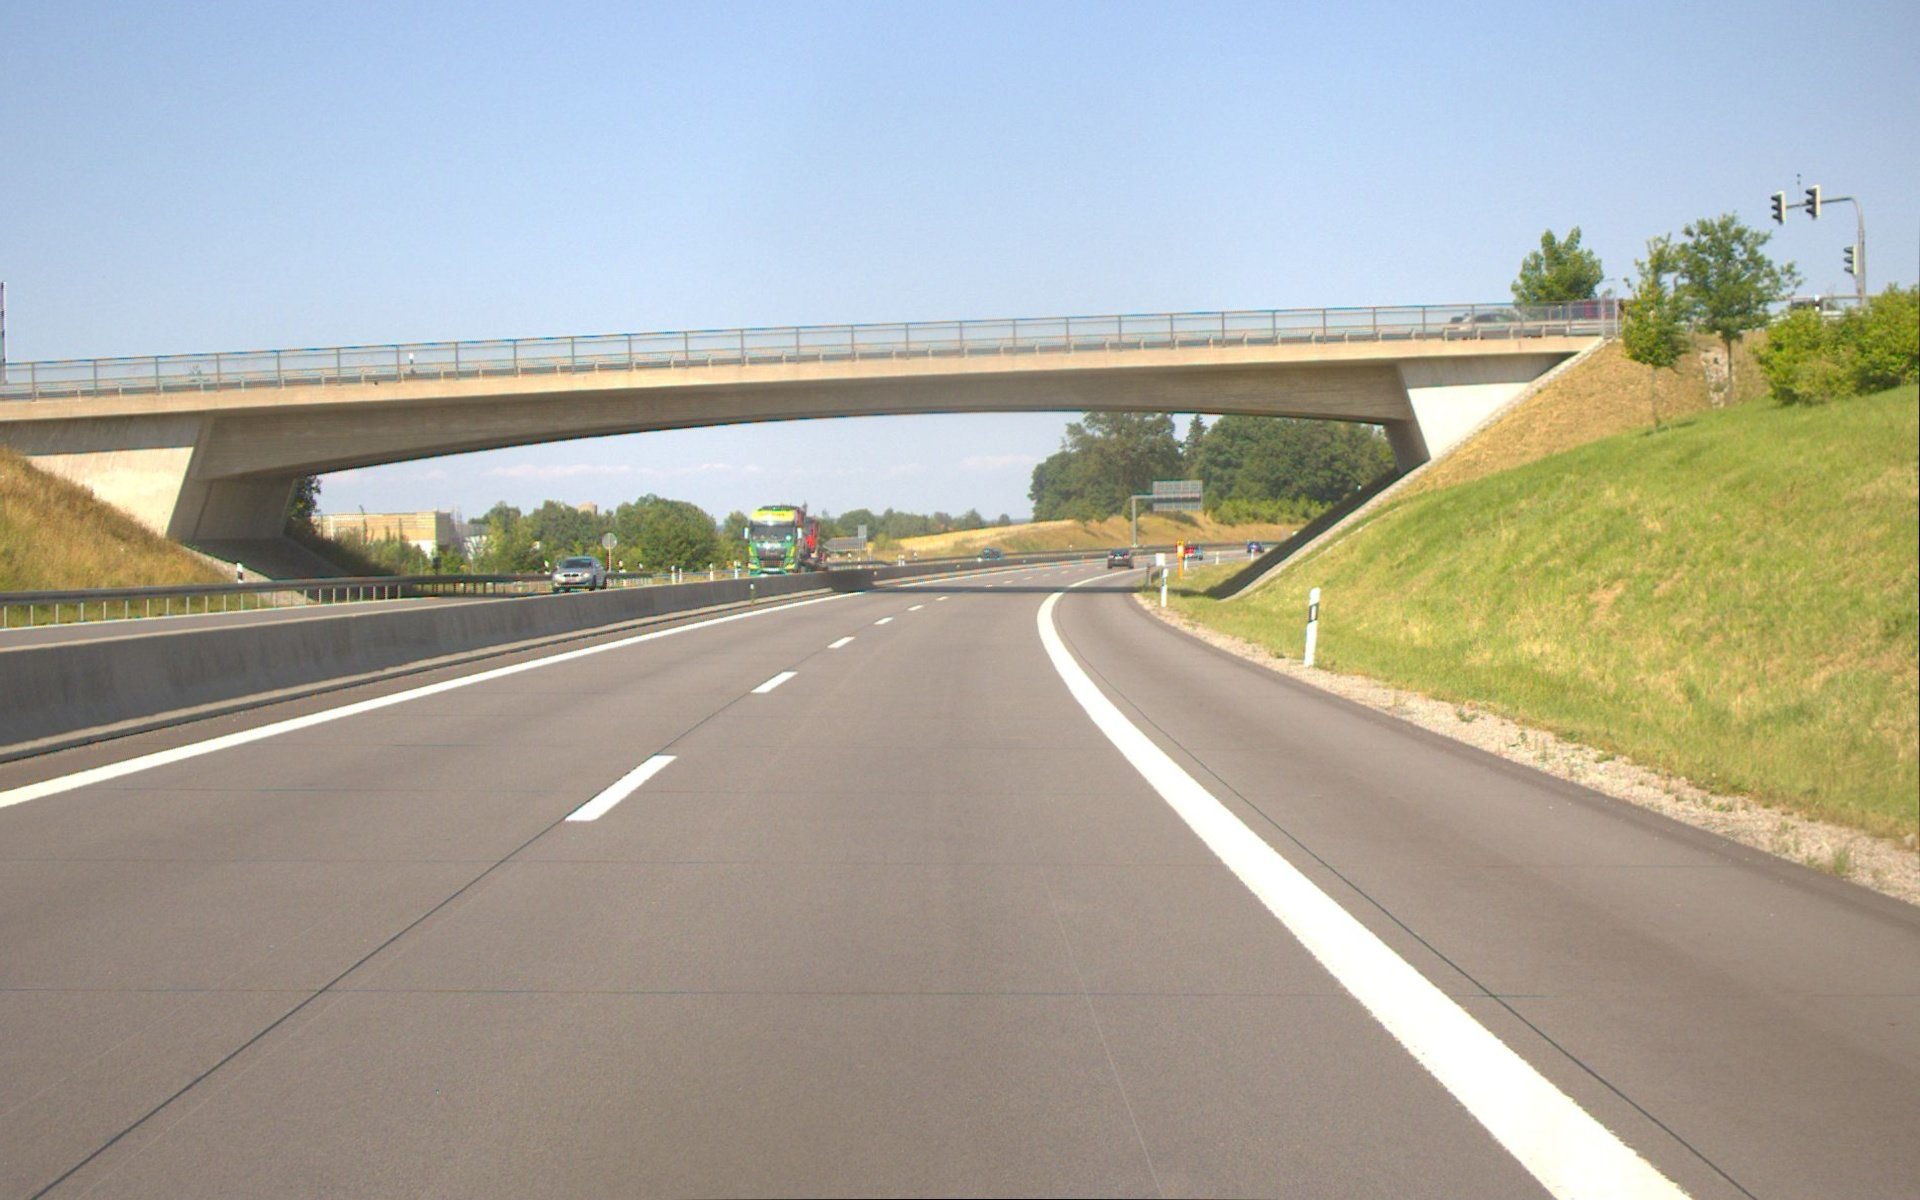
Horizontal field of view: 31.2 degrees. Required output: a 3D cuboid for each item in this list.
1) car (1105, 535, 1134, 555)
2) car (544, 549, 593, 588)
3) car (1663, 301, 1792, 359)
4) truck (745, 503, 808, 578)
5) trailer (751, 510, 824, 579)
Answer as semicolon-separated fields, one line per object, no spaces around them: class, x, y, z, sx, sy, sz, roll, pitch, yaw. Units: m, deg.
car;11.428;-3.955;246.943;1.994;1.415;4.000;-2;1;2
car;-16.220;-1.329;142.468;1.861;1.525;4.569;-1;1;-5
car;28.018;-9.868;125.613;4.122;1.875;2.001;-2;2;-7
truck;-9.561;-3.118;179.680;2.735;3.818;5.831;0;1;2
trailer;-9.263;-3.022;186.392;2.665;3.645;13.236;0;1;3
